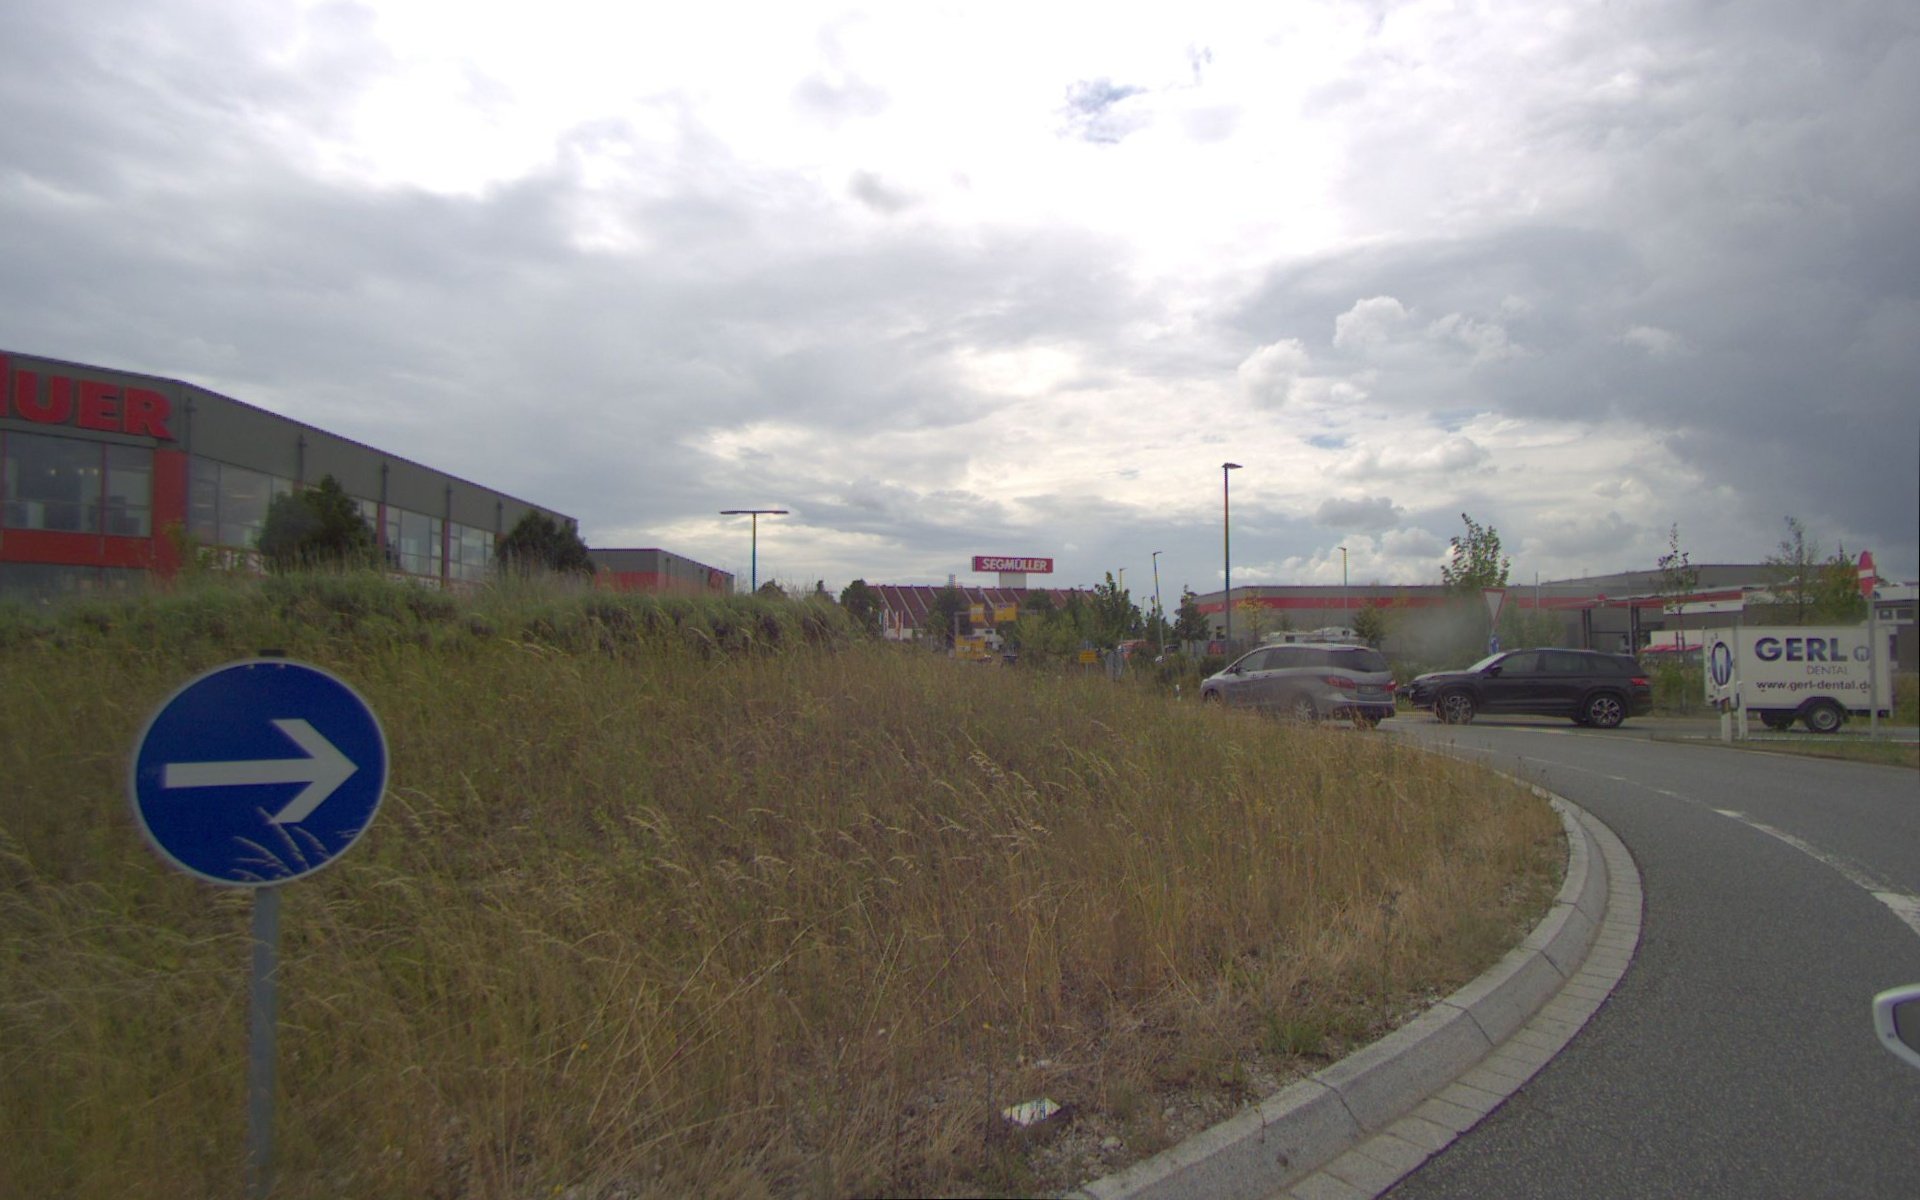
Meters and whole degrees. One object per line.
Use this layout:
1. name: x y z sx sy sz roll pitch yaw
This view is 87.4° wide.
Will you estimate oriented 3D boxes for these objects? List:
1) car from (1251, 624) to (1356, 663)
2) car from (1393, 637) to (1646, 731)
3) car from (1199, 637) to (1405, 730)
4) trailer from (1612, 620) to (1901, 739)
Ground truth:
1. car: 27.100 3.415 79.409 7.542 2.857 2.470 1 -1 -4
2. car: 12.113 1.768 22.133 4.590 1.783 2.000 1 -1 20
3. car: 6.718 1.571 20.161 1.718 1.620 3.976 0 -1 -23
4. trailer: 16.381 1.566 20.949 4.285 2.213 2.000 1 -1 19
